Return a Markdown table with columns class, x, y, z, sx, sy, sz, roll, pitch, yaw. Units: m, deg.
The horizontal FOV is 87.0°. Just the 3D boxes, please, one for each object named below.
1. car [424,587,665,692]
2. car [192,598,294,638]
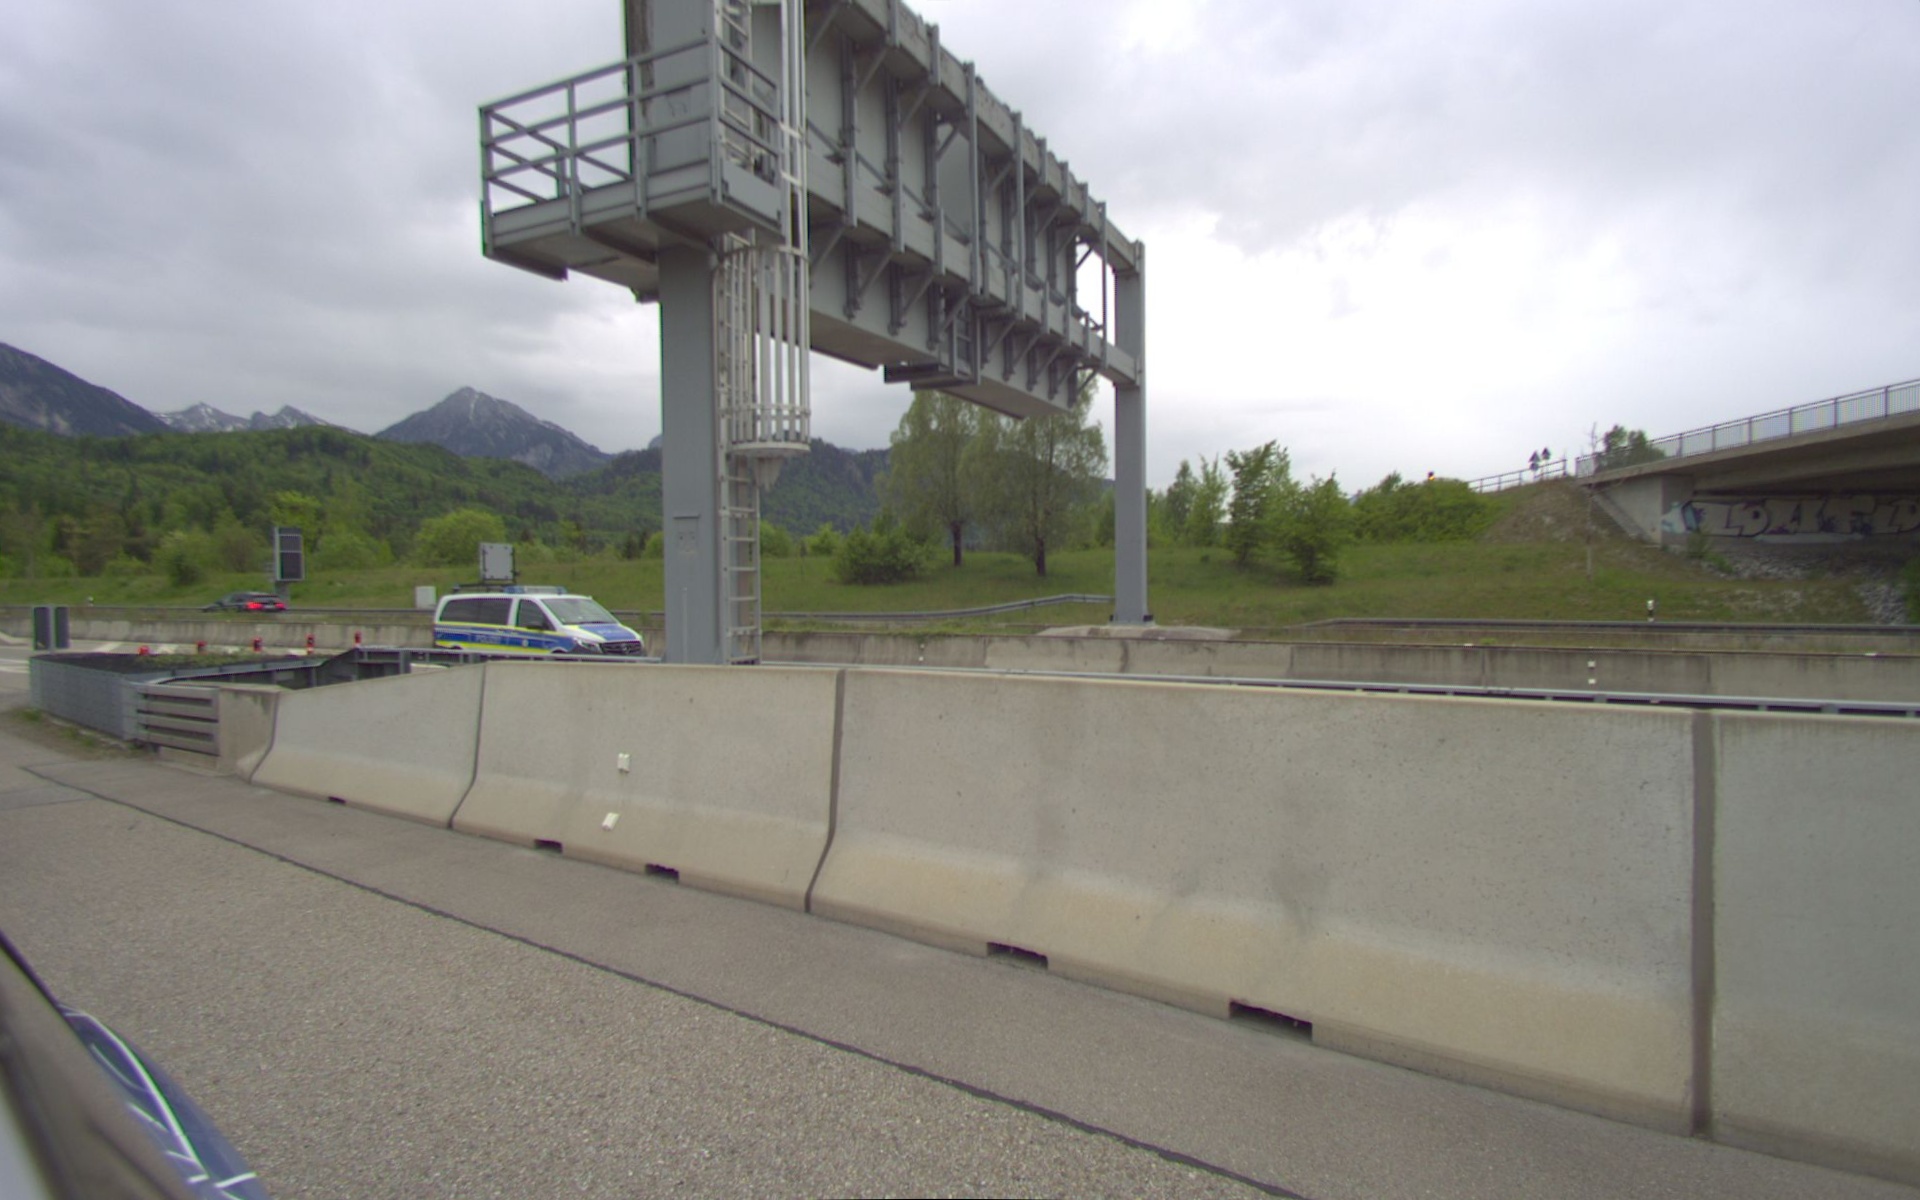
| class | x | y | z | sx | sy | sz | roll | pitch | yaw |
| --- | --- | --- | --- | --- | --- | --- | --- | --- | --- |
| car | -8.932 | 0.779 | 21.681 | 5.028 | 2.029 | 2.085 | 0 | -1 | 28 |
| car | -36.375 | 0.907 | 51.331 | 5.081 | 1.970 | 1.974 | 0 | -1 | 26 |
